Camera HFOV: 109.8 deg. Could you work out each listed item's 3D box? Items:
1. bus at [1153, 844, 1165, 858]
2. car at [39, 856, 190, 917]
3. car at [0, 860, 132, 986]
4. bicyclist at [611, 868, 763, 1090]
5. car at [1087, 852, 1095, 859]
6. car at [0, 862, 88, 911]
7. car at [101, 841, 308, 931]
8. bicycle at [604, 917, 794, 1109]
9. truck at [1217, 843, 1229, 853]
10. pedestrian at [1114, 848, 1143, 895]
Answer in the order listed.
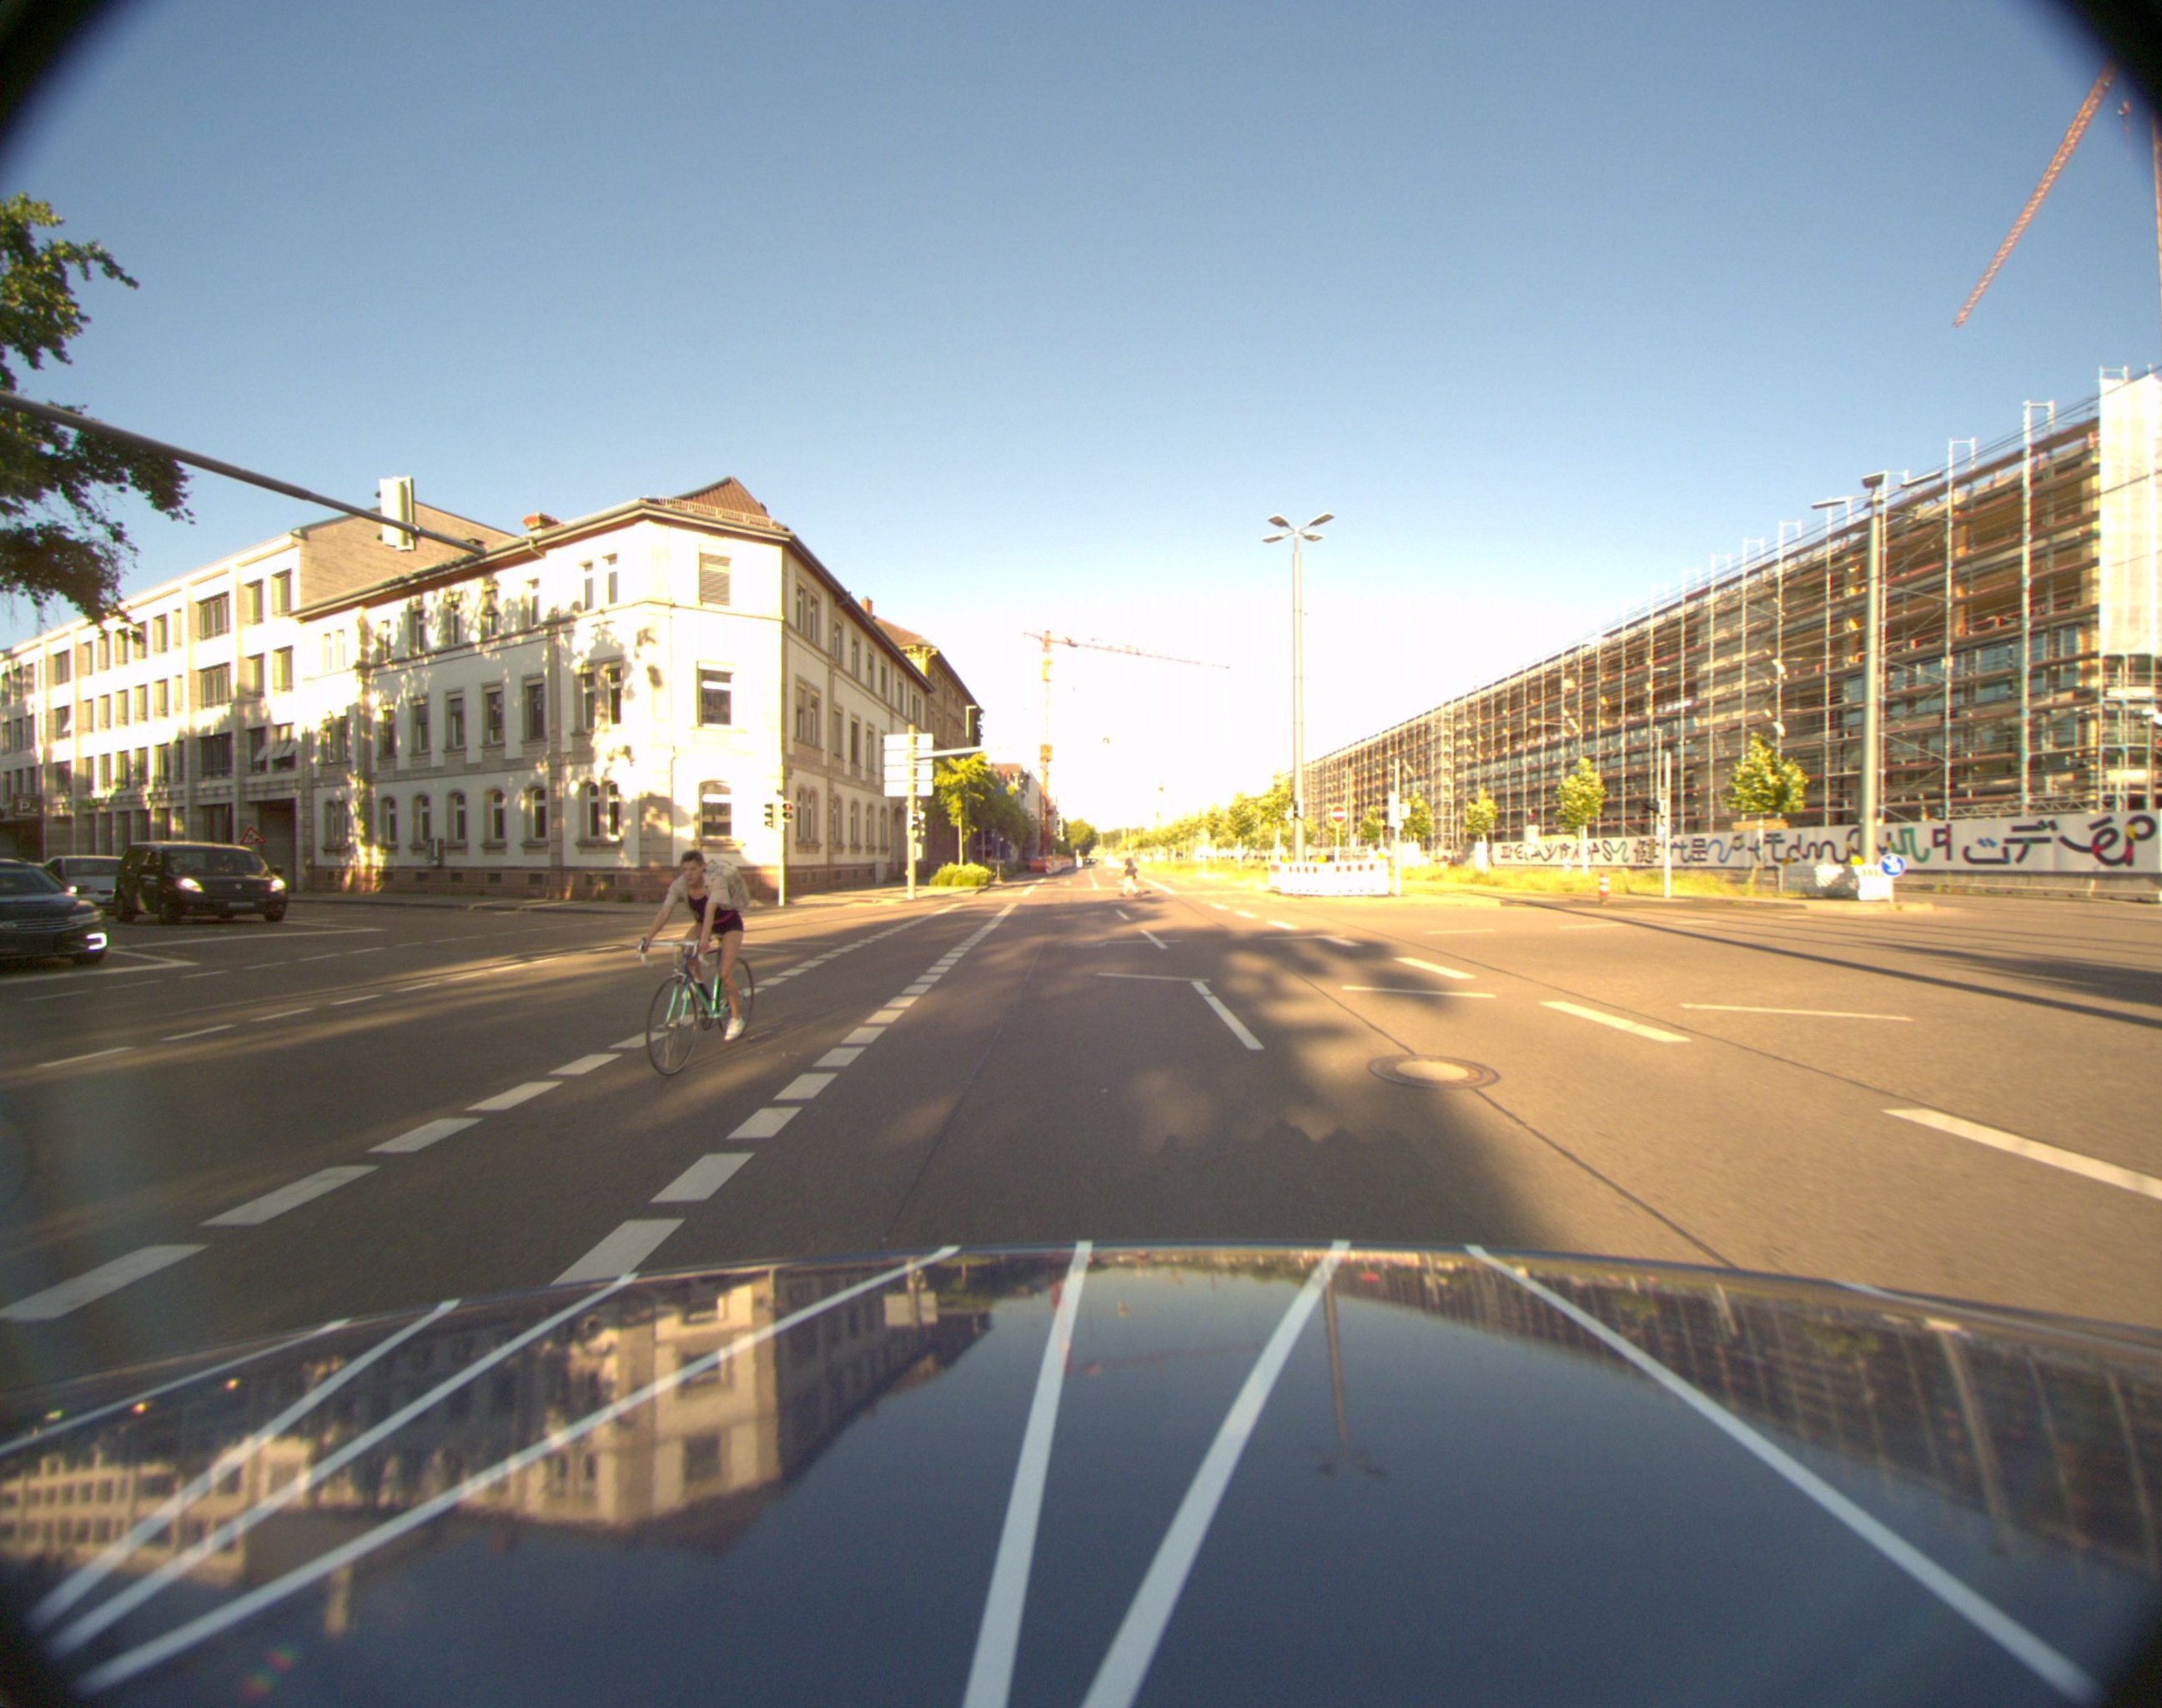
[{"bbox_3d":[17.889,-0.699,173.624,2.722,3.203,8.659,0,0,6],"label":"bus"},{"bbox_3d":[-25.911,0.833,20.375,3.520,1.502,1.742,0,-1,25],"label":"car"},{"bbox_3d":[-15.169,0.864,10.259,4.590,1.465,1.906,0,1,25],"label":"car"},{"bbox_3d":[-2.881,0.851,5.658,0.554,1.482,1.081,0,0,1],"label":"bicyclist"},{"bbox_3d":[2.671,0.393,194.642,1.998,1.696,4.000,0,1,1],"label":"car"},{"bbox_3d":[-32.631,0.956,23.471,3.640,1.406,1.635,0,-1,25],"label":"car"},{"bbox_3d":[-19.625,0.662,17.009,4.236,1.794,1.953,0,-1,25],"label":"car"},{"bbox_3d":[-2.872,1.130,5.941,0.522,1.091,1.842,0,1,1],"label":"bicycle"},{"bbox_3d":[34.559,-1.482,185.082,2.143,2.559,4.740,0,0,3],"label":"truck"},{"bbox_3d":[1.687,0.612,26.997,0.925,1.639,0.766,0,1,12],"label":"pedestrian"}]
